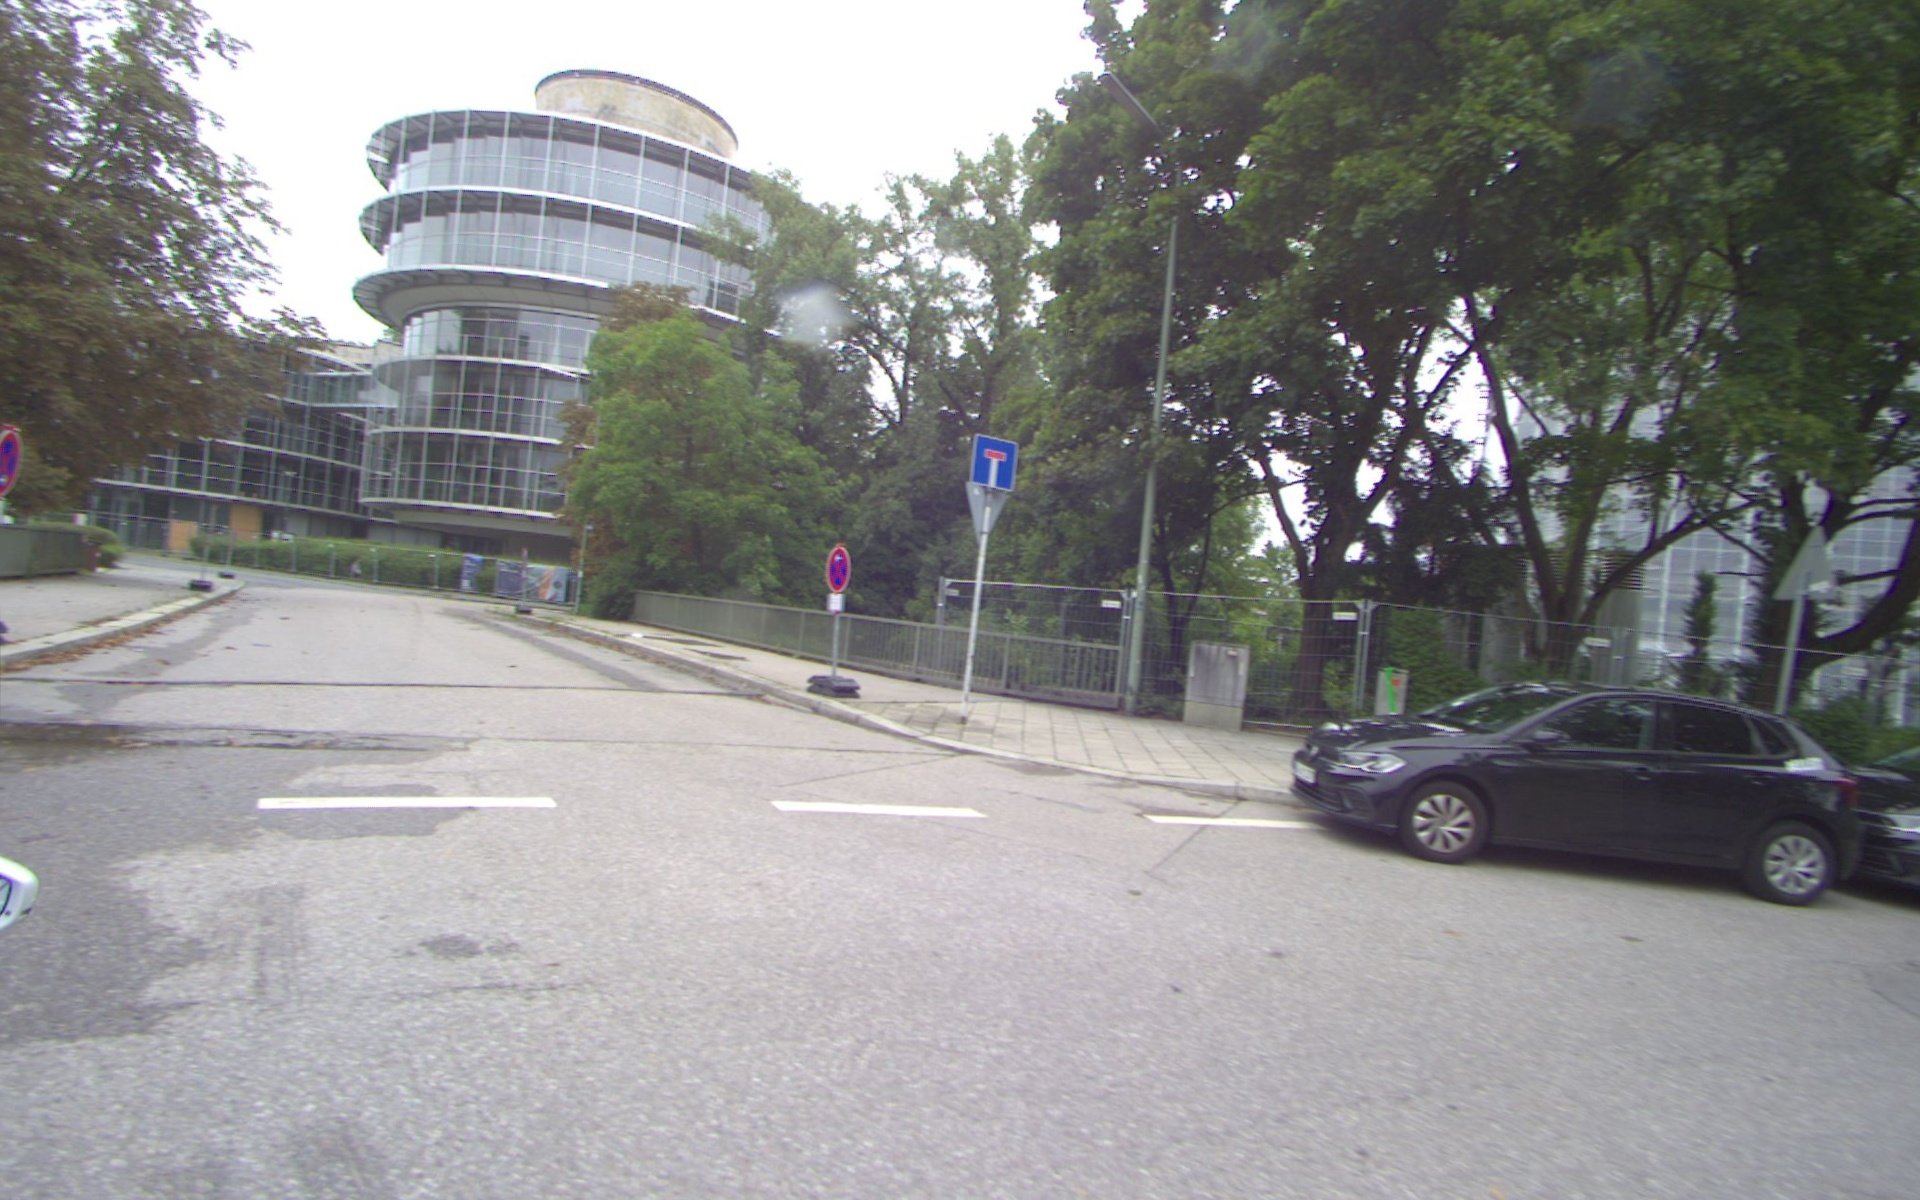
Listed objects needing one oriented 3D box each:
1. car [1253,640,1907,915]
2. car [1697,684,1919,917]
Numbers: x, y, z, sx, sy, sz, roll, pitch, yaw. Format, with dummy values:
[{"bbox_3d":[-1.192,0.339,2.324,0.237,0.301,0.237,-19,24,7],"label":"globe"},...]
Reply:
[{"bbox_3d":[4.735,1.319,8.212,3.967,1.451,1.999,6,1,-1],"label":"car"},{"bbox_3d":[8.883,1.749,8.403,3.927,1.560,2.000,6,-1,-3],"label":"car"}]
